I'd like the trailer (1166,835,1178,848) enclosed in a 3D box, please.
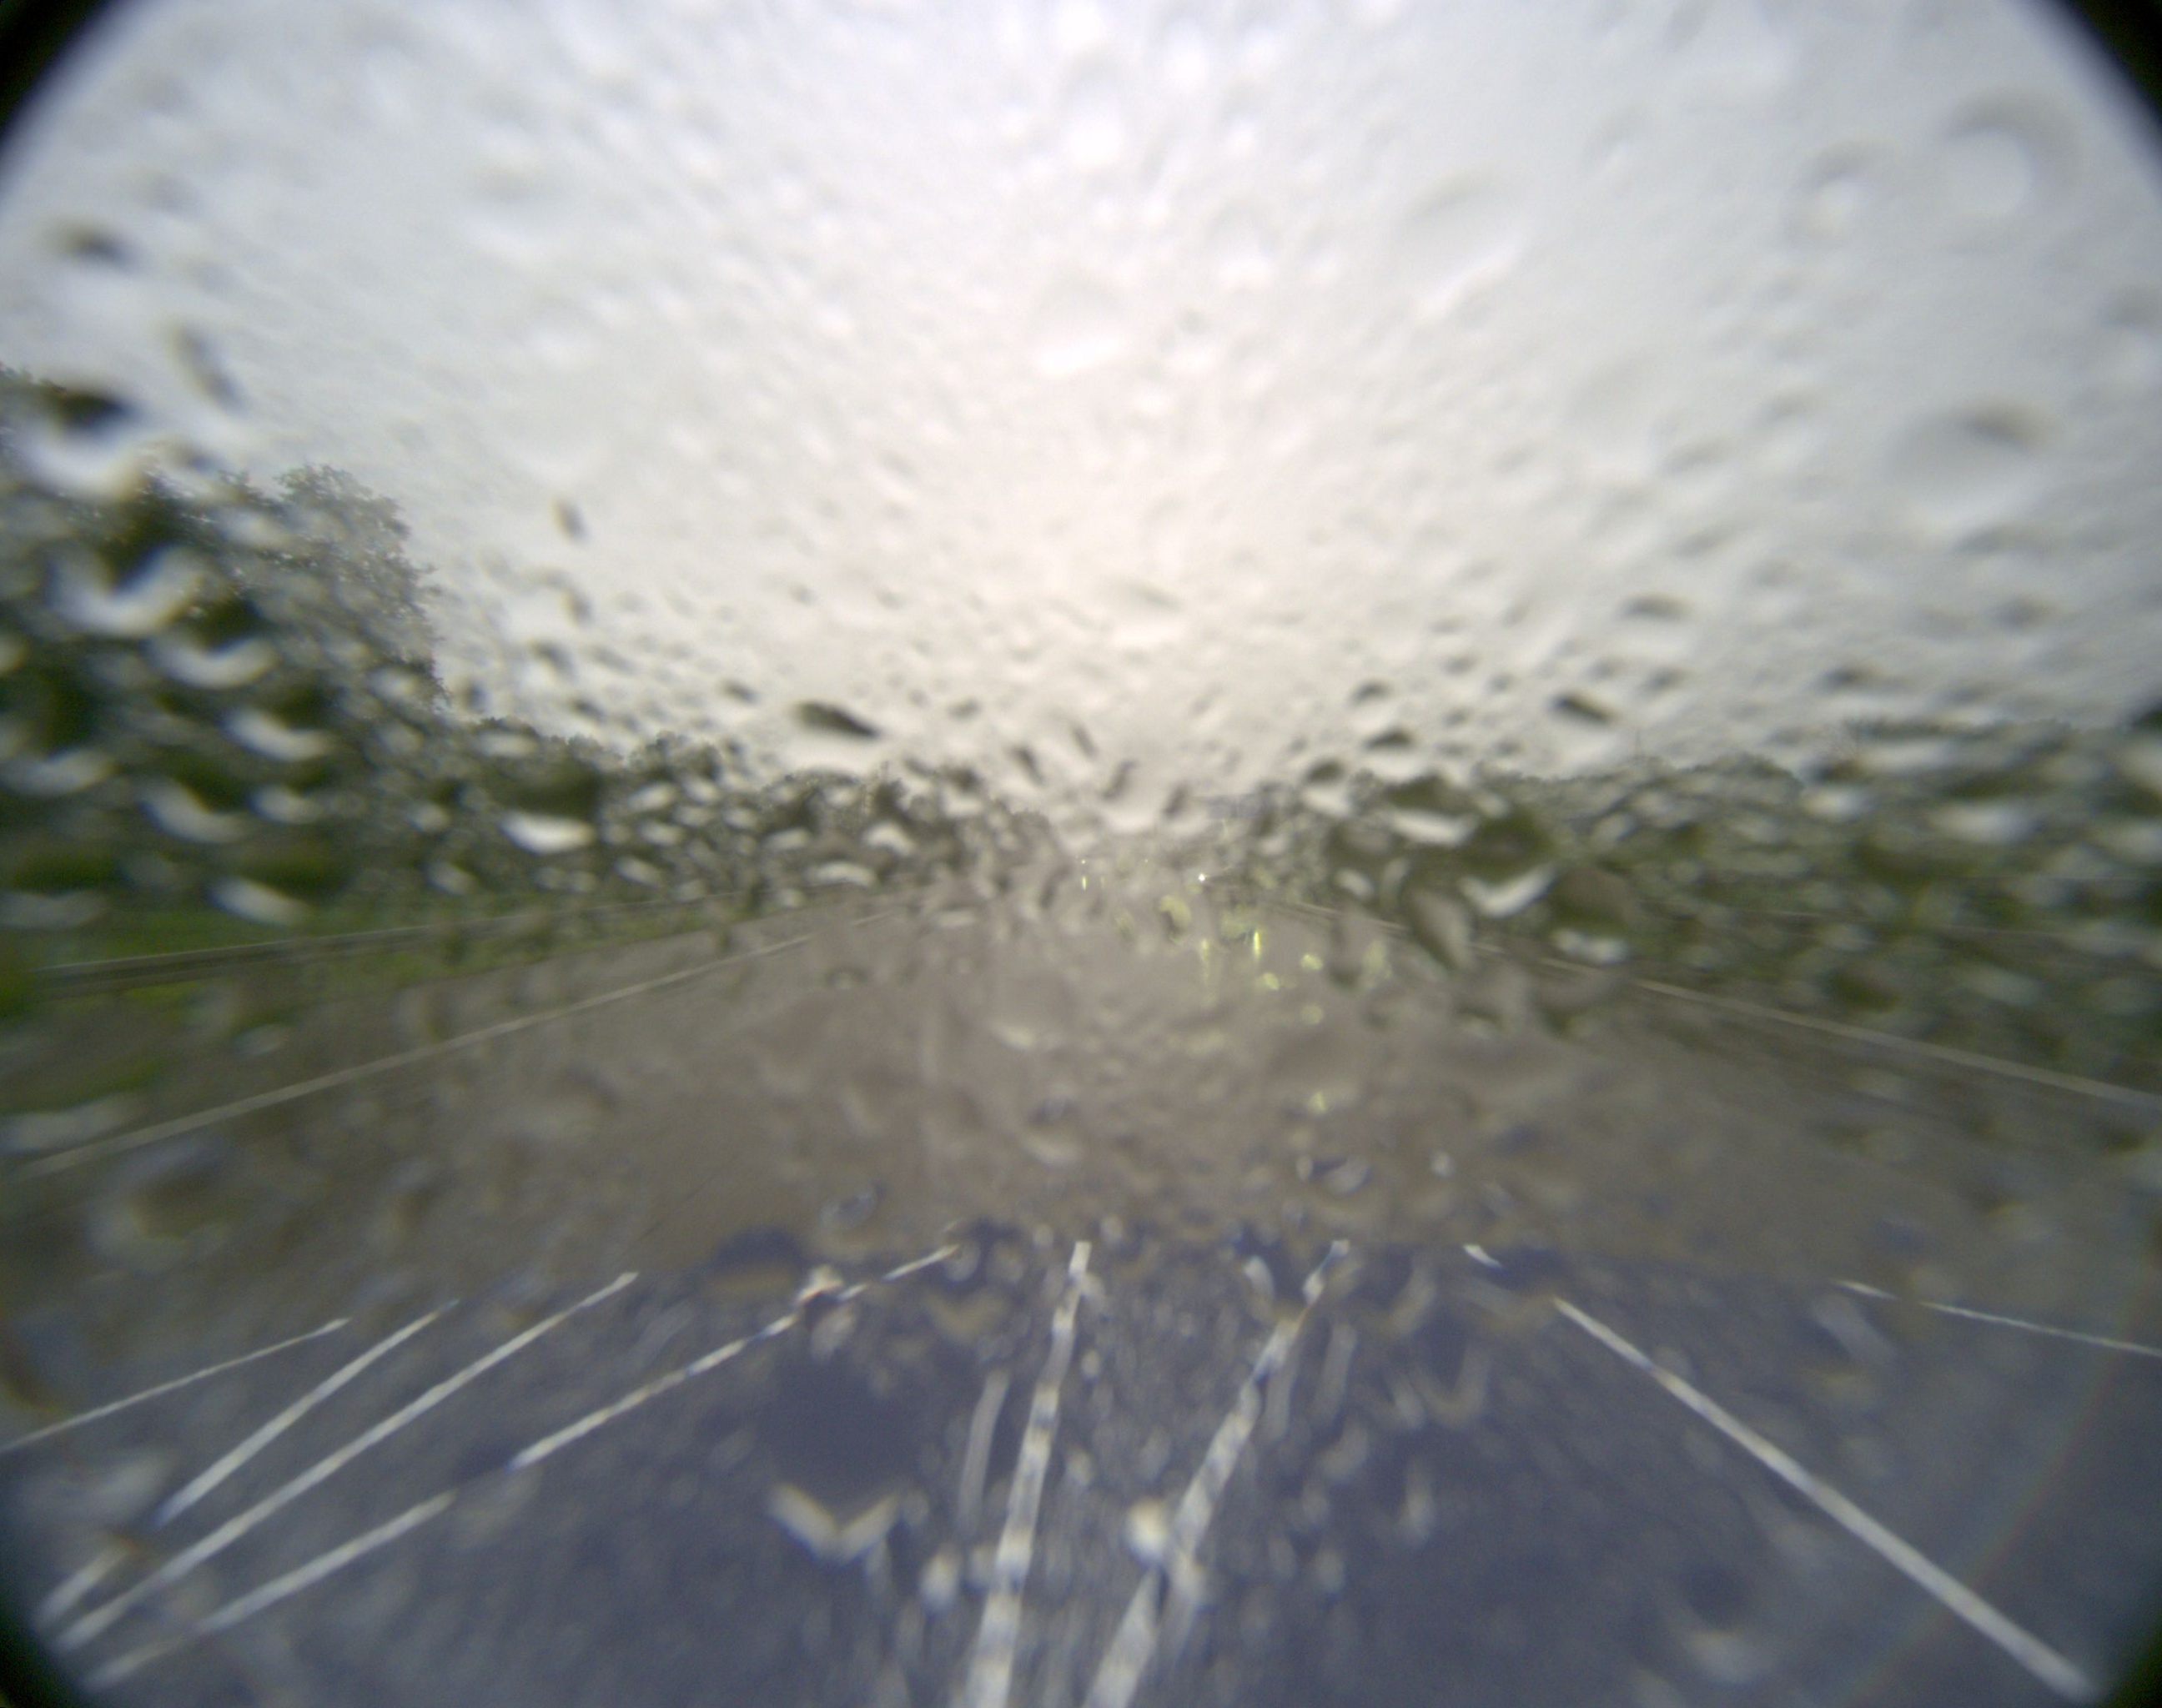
[{"bbox_3d":[27.496,-3.648,230.054,2.338,3.700,13.931,-5,0,4],"label":"trailer"}]

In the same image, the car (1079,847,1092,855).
[{"bbox_3d":[0.783,-0.518,130.792,1.752,1.205,4.001,-5,0,6],"label":"car"}]

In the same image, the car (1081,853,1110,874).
[{"bbox_3d":[1.120,0.678,57.059,1.752,1.406,4.001,-1,0,6],"label":"car"}]

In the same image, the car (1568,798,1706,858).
[{"bbox_3d":[21.542,-0.940,29.744,1.824,2.002,4.836,-5,0,2],"label":"car"}]

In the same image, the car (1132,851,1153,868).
[{"bbox_3d":[5.812,0.492,71.694,1.752,1.369,4.001,-3,0,6],"label":"car"}]

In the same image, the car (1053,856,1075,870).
[{"bbox_3d":[-1.770,0.906,79.873,1.752,1.205,4.001,-5,0,6],"label":"car"}]

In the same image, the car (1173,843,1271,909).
[{"bbox_3d":[4.151,0.593,23.146,2.047,1.763,4.499,-2,0,-1],"label":"car"}]
